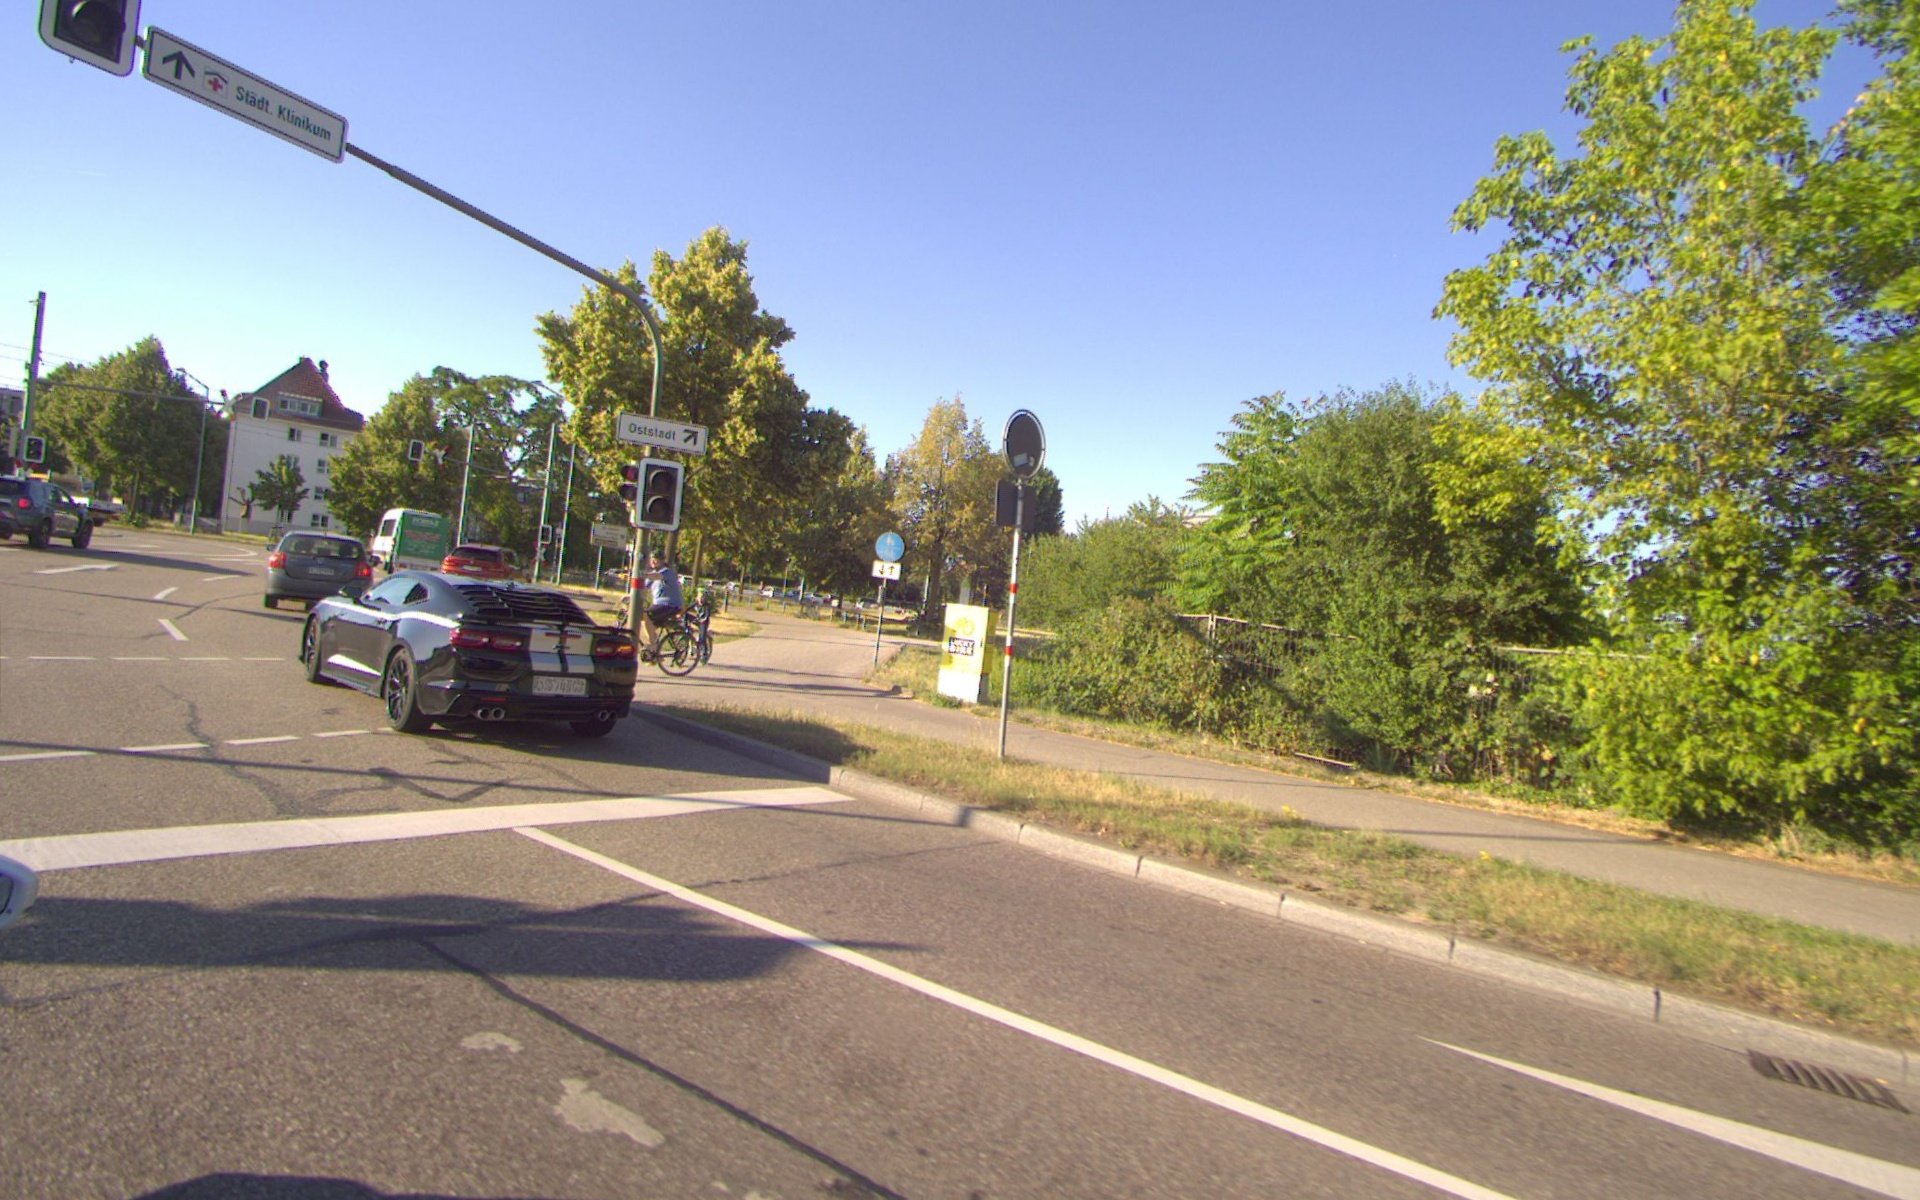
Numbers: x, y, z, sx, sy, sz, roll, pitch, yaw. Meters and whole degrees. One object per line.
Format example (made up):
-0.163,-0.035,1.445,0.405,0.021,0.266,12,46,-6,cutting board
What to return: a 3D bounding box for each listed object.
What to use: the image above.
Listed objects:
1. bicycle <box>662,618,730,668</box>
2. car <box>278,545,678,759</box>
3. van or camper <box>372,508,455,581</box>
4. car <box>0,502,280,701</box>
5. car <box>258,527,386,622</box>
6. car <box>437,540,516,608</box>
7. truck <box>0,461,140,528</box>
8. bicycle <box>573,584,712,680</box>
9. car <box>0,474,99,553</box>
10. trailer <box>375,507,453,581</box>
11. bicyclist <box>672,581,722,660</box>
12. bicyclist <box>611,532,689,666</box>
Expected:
-4.627,0.738,17.706,0.431,0.796,1.464,7,0,14,bicycle
-4.848,0.401,9.761,4.562,1.354,1.852,7,-1,43,car
-24.066,-2.449,44.134,2.272,2.660,6.522,8,-1,-35,van or camper
-9.008,-0.064,10.482,3.934,1.630,1.604,7,0,32,car
-12.327,-0.532,19.652,1.733,1.491,3.791,7,0,-29,car
-14.249,-0.790,29.818,1.730,1.640,3.799,8,-1,-23,car
-46.750,-5.521,52.570,6.132,2.590,2.590,7,0,12,truck
-4.819,0.490,15.280,1.884,1.260,0.606,5,1,-23,bicycle
-22.935,-2.120,24.550,1.889,1.680,3.974,7,-1,-27,car
-21.074,-2.096,38.945,2.070,2.428,3.482,8,-1,-23,trailer
-4.603,0.365,17.616,0.457,1.311,0.651,7,1,13,bicyclist
-4.715,-0.019,15.289,0.926,1.923,0.598,5,2,-23,bicyclist
